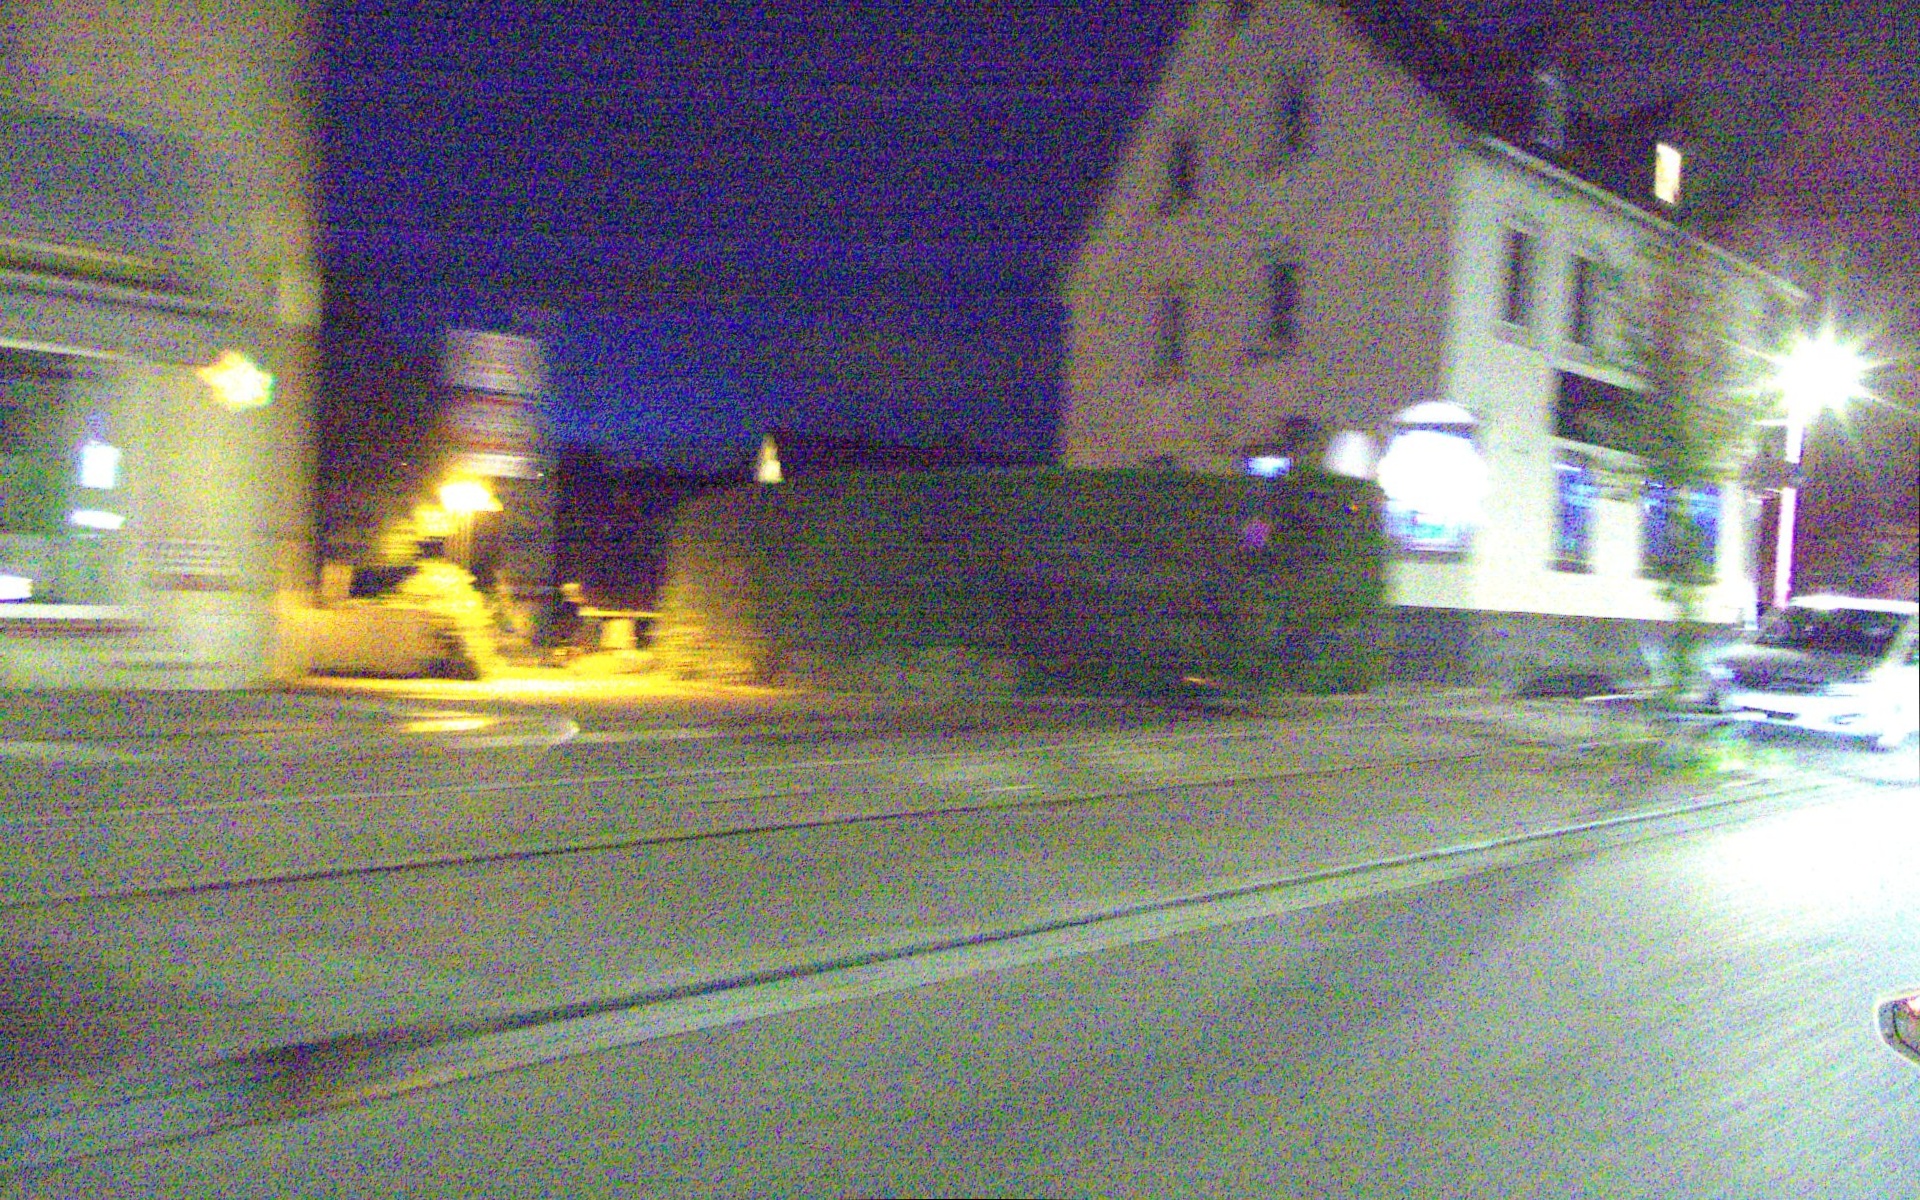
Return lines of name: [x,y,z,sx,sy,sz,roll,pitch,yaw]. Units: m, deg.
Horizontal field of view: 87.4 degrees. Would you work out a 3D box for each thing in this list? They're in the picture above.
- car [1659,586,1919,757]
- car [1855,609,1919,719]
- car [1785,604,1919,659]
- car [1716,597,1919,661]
car: [10.649,0.763,12.181,4.421,1.659,1.918,1,2,-32]
car: [15.180,0.967,14.901,3.922,1.488,1.761,1,3,-32]
car: [29.735,1.004,32.857,1.930,1.725,3.957,1,-1,-37]
car: [24.551,0.788,28.853,1.976,1.684,4.097,1,-1,-29]
